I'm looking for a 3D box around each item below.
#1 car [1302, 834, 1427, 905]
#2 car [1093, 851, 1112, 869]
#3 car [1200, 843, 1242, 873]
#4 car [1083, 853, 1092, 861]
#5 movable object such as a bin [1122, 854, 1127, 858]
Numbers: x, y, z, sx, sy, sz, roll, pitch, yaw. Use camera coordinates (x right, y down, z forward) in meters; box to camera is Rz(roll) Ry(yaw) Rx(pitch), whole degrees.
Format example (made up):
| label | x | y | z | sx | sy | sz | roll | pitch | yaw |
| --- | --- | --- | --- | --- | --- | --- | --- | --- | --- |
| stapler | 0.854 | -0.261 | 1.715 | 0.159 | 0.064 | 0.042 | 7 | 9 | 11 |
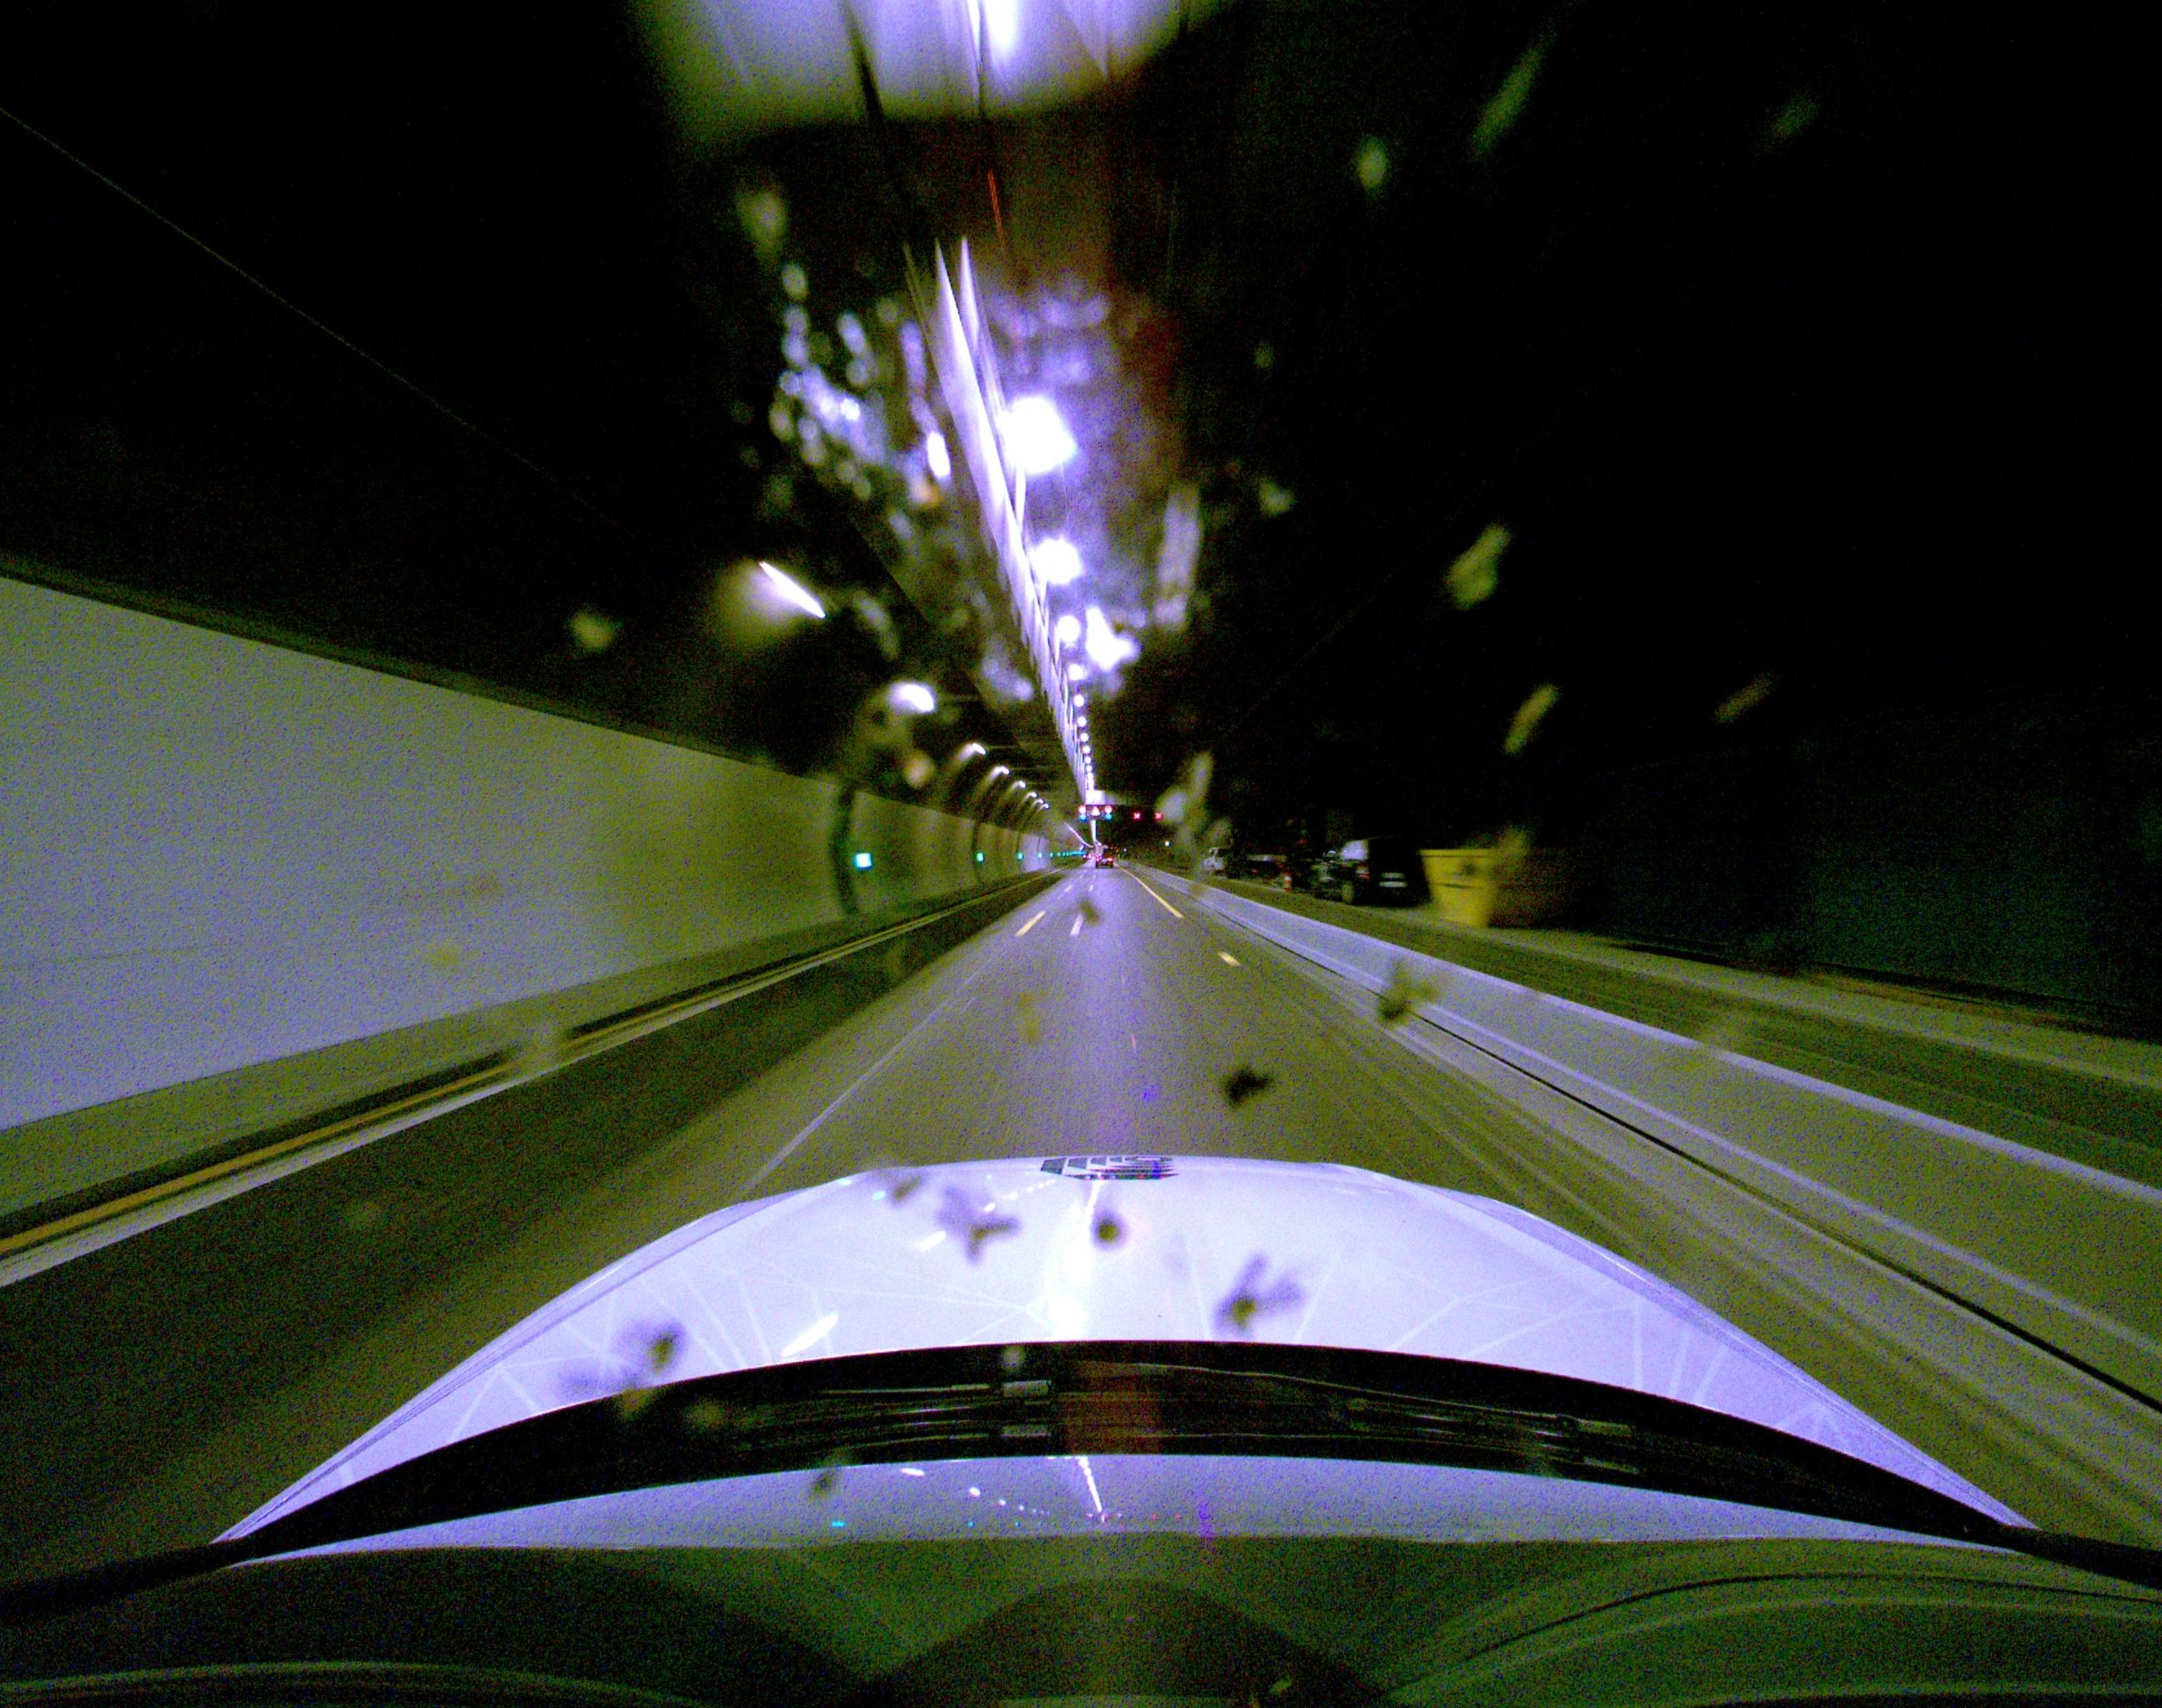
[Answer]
| label | x | y | z | sx | sy | sz | roll | pitch | yaw |
| --- | --- | --- | --- | --- | --- | --- | --- | --- | --- |
| car | 8.210 | 0.400 | 24.177 | 1.822 | 1.858 | 5.441 | 0 | 0 | 0 |
| car | 2.250 | 0.605 | 86.082 | 1.940 | 1.794 | 4.001 | -1 | 0 | 1 |
| car | 9.240 | 0.256 | 54.022 | 1.747 | 1.845 | 4.640 | -2 | 0 | -3 |
| car | 1.593 | 0.754 | 187.776 | 1.923 | 1.687 | 4.001 | -1 | 0 | 1 |
| movable object such as a bin | 13.710 | 0.612 | 256.408 | 1.230 | 1.442 | 2.217 | 1 | 0 | 0 |
